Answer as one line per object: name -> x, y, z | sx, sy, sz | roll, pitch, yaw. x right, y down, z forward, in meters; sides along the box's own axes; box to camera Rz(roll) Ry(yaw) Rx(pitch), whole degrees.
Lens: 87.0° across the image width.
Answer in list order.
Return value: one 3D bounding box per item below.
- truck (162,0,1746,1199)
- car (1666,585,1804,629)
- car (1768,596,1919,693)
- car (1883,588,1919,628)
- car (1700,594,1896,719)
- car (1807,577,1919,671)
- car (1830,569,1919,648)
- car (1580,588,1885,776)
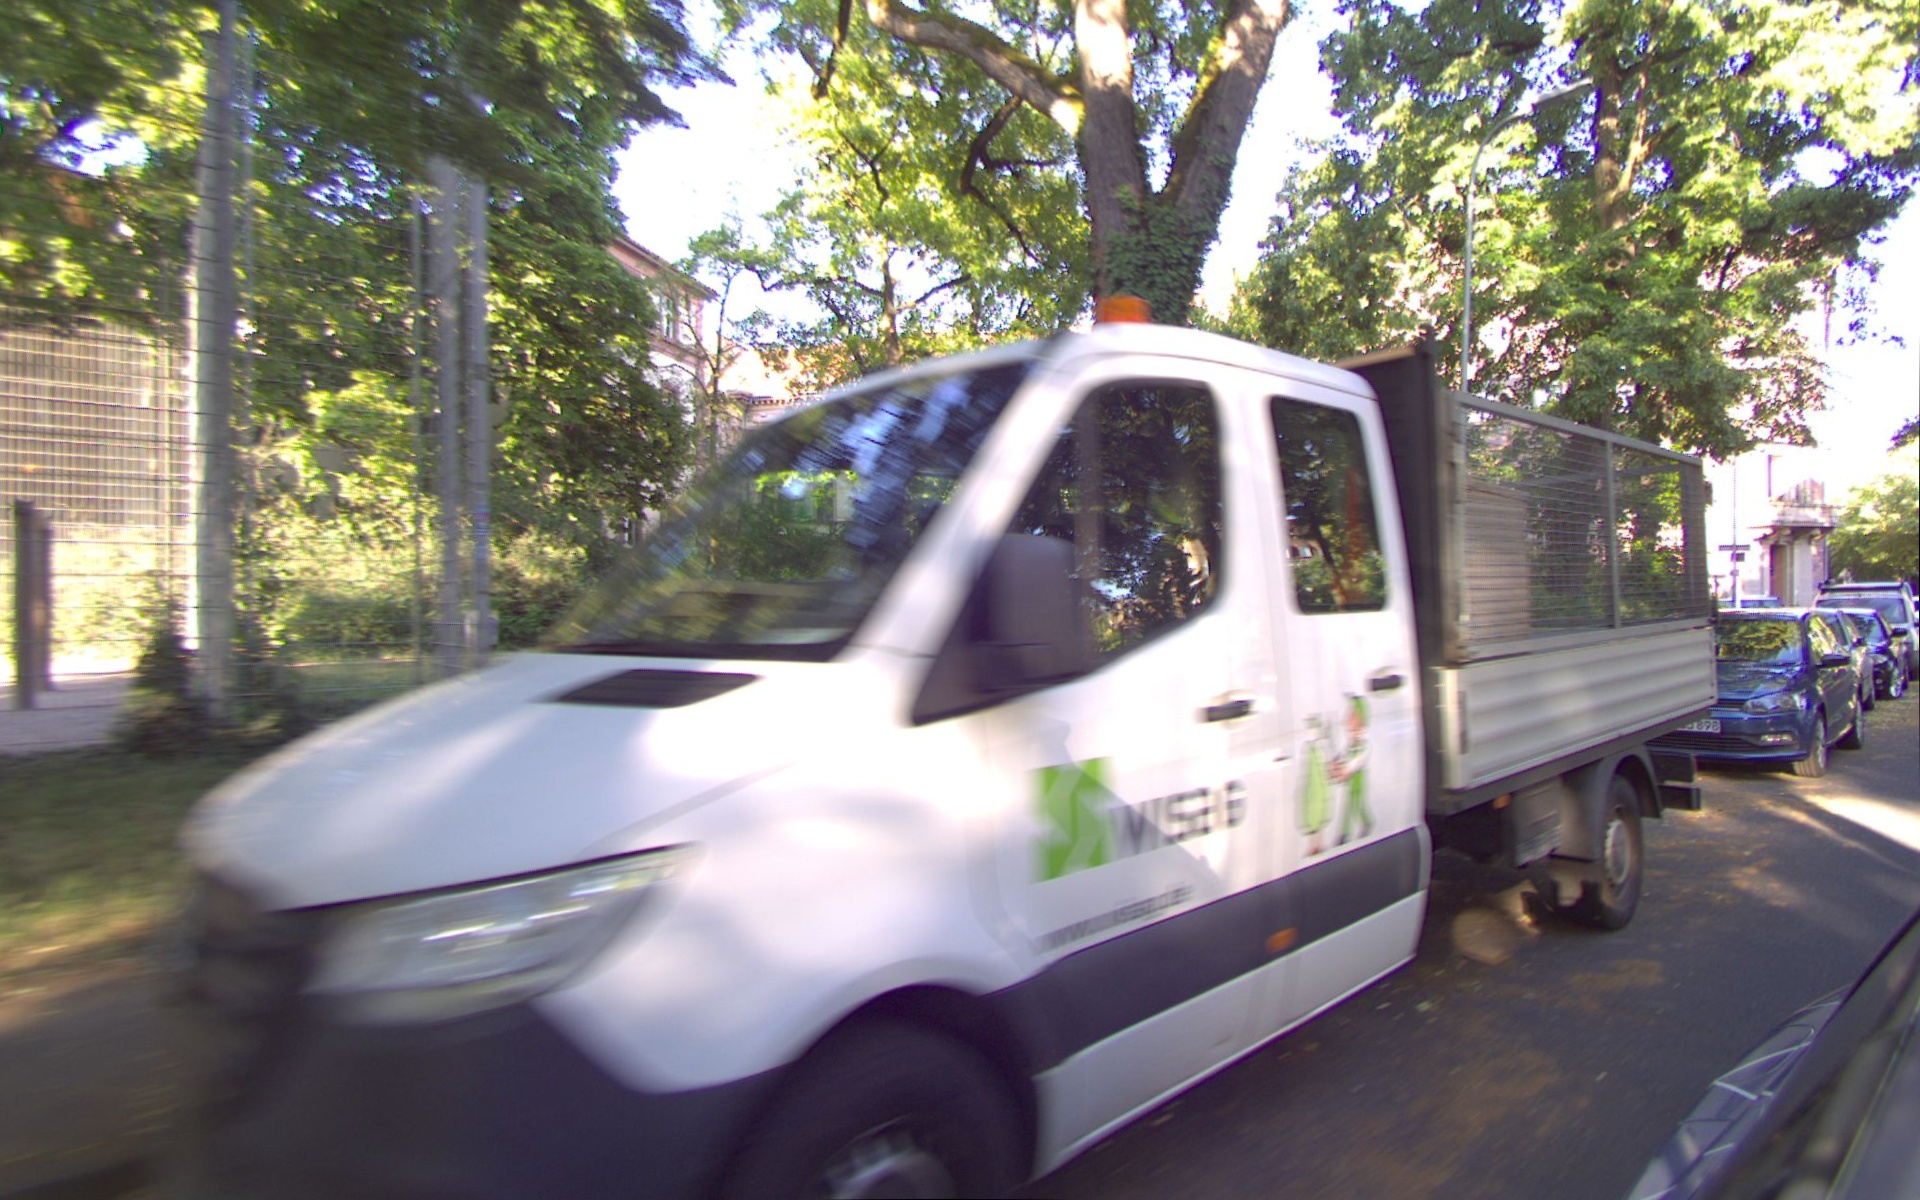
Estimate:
truck -> 1.027, 0.203, 4.253 | 6.813, 2.416, 2.299 | -1, 0, -41
car -> 30.707, 0.310, 40.246 | 3.946, 1.669, 1.674 | -1, -3, 18
car -> 15.024, 0.654, 17.050 | 4.195, 1.408, 1.673 | -1, 0, -44
car -> 42.305, 0.294, 44.590 | 1.931, 1.643, 4.186 | -5, -2, 38
car -> 11.677, 0.673, 14.015 | 3.829, 1.477, 1.673 | -1, 0, -44
car -> 18.725, 0.425, 20.680 | 1.787, 1.729, 4.306 | -1, 0, 45
car -> 25.025, 0.201, 27.566 | 1.964, 1.960, 5.375 | -1, 0, 41
car -> 7.637, 0.634, 9.877 | 3.826, 1.477, 1.674 | -1, 0, -42
